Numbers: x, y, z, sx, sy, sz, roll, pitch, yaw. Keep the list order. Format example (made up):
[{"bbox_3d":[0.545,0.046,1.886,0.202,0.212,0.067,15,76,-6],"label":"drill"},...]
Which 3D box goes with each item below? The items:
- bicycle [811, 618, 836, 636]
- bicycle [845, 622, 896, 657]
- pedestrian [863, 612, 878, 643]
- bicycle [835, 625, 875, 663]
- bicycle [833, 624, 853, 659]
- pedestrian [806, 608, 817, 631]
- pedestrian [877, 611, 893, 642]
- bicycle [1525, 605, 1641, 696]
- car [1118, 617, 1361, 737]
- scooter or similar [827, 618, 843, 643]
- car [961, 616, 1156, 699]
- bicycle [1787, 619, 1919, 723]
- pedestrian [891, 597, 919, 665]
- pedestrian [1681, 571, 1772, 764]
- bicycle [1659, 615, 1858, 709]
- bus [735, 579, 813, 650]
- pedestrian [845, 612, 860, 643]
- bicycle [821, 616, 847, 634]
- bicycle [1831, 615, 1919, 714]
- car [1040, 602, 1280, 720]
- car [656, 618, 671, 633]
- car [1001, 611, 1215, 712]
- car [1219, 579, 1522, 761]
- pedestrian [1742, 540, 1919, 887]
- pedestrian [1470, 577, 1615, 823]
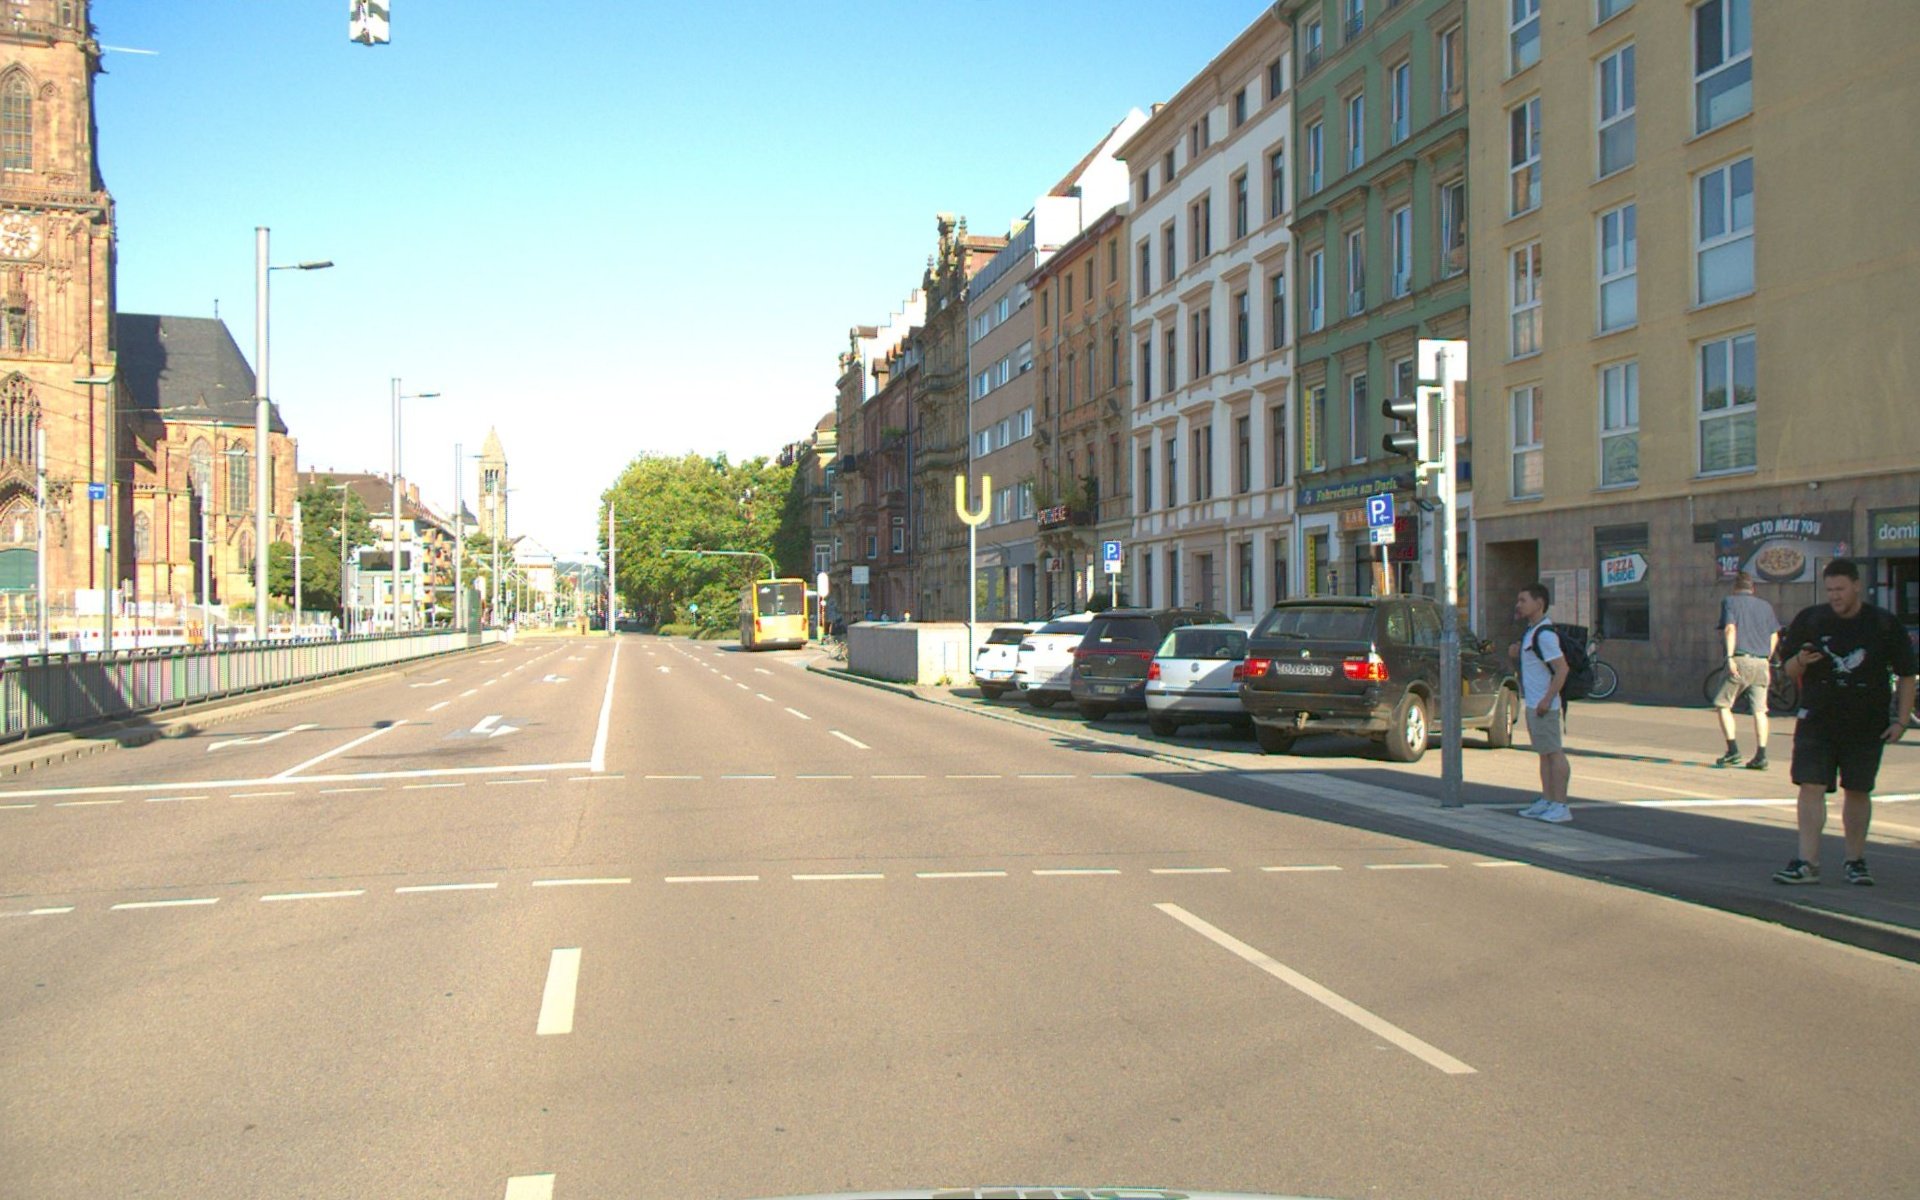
[{"bbox_3d":[-10.467,2.057,126.602,1.859,1.260,0.487,-2,-2,-25],"label":"bicycle"},{"bbox_3d":[-3.124,1.389,57.755,1.734,1.208,0.469,0,0,-13],"label":"bicycle"},{"bbox_3d":[-5.664,1.737,104.741,0.807,1.964,1.133,-1,-1,-12],"label":"pedestrian"},{"bbox_3d":[-3.413,1.415,53.826,0.464,1.167,1.749,0,0,-34],"label":"bicycle"},{"bbox_3d":[-4.001,1.409,56.459,0.460,1.167,1.766,0,0,-11],"label":"bicycle"},{"bbox_3d":[-10.887,1.444,121.303,0.690,1.685,1.133,-1,-1,-12],"label":"pedestrian"},{"bbox_3d":[-4.761,1.693,104.934,0.807,1.964,1.133,-1,-1,-12],"label":"pedestrian"},{"bbox_3d":[10.628,0.836,28.323,0.912,1.380,2.225,-1,2,-8],"label":"bicycle"},{"bbox_3d":[3.806,0.991,22.001,1.752,1.424,3.880,0,-2,34],"label":"car"},{"bbox_3d":[-6.548,1.604,86.422,0.425,1.271,1.286,-2,-1,-21],"label":"scooter or similar"},{"bbox_3d":[1.997,1.077,32.434,1.923,1.489,4.096,-1,-1,36],"label":"car"},{"bbox_3d":[11.946,0.898,21.641,0.646,1.270,2.290,-2,-1,-14],"label":"bicycle"},{"bbox_3d":[-1.698,0.939,51.081,0.737,2.048,0.696,-1,2,-12],"label":"pedestrian"},{"bbox_3d":[7.780,0.668,16.786,0.684,1.899,0.750,-1,-1,36],"label":"pedestrian"},{"bbox_3d":[11.766,0.875,24.532,0.968,1.286,3.051,0,0,-13],"label":"bicycle"},{"bbox_3d":[-9.407,0.719,82.365,2.667,3.237,12.503,-1,0,-12],"label":"bus"},{"bbox_3d":[-6.875,1.724,105.413,0.807,1.964,1.133,-1,-1,-12],"label":"pedestrian"},{"bbox_3d":[-9.412,1.851,124.014,1.859,1.260,0.487,-2,-2,-25],"label":"bicycle"},{"bbox_3d":[12.702,0.841,21.931,0.646,1.270,2.290,-2,-1,-14],"label":"bicycle"},{"bbox_3d":[3.156,0.882,25.337,1.920,1.626,4.237,0,-1,35],"label":"car"},{"bbox_3d":[-33.242,2.837,185.343,1.614,1.538,4.171,-1,0,-11],"label":"car"},{"bbox_3d":[2.655,1.029,28.840,1.920,1.598,4.237,0,-1,34],"label":"car"},{"bbox_3d":[4.832,0.736,19.054,1.922,1.846,4.234,0,-1,37],"label":"car"},{"bbox_3d":[4.847,0.579,8.971,0.789,1.758,0.856,0,-1,-43],"label":"pedestrian"},{"bbox_3d":[4.333,0.719,12.326,0.688,1.758,0.746,0,-1,-28],"label":"pedestrian"}]
